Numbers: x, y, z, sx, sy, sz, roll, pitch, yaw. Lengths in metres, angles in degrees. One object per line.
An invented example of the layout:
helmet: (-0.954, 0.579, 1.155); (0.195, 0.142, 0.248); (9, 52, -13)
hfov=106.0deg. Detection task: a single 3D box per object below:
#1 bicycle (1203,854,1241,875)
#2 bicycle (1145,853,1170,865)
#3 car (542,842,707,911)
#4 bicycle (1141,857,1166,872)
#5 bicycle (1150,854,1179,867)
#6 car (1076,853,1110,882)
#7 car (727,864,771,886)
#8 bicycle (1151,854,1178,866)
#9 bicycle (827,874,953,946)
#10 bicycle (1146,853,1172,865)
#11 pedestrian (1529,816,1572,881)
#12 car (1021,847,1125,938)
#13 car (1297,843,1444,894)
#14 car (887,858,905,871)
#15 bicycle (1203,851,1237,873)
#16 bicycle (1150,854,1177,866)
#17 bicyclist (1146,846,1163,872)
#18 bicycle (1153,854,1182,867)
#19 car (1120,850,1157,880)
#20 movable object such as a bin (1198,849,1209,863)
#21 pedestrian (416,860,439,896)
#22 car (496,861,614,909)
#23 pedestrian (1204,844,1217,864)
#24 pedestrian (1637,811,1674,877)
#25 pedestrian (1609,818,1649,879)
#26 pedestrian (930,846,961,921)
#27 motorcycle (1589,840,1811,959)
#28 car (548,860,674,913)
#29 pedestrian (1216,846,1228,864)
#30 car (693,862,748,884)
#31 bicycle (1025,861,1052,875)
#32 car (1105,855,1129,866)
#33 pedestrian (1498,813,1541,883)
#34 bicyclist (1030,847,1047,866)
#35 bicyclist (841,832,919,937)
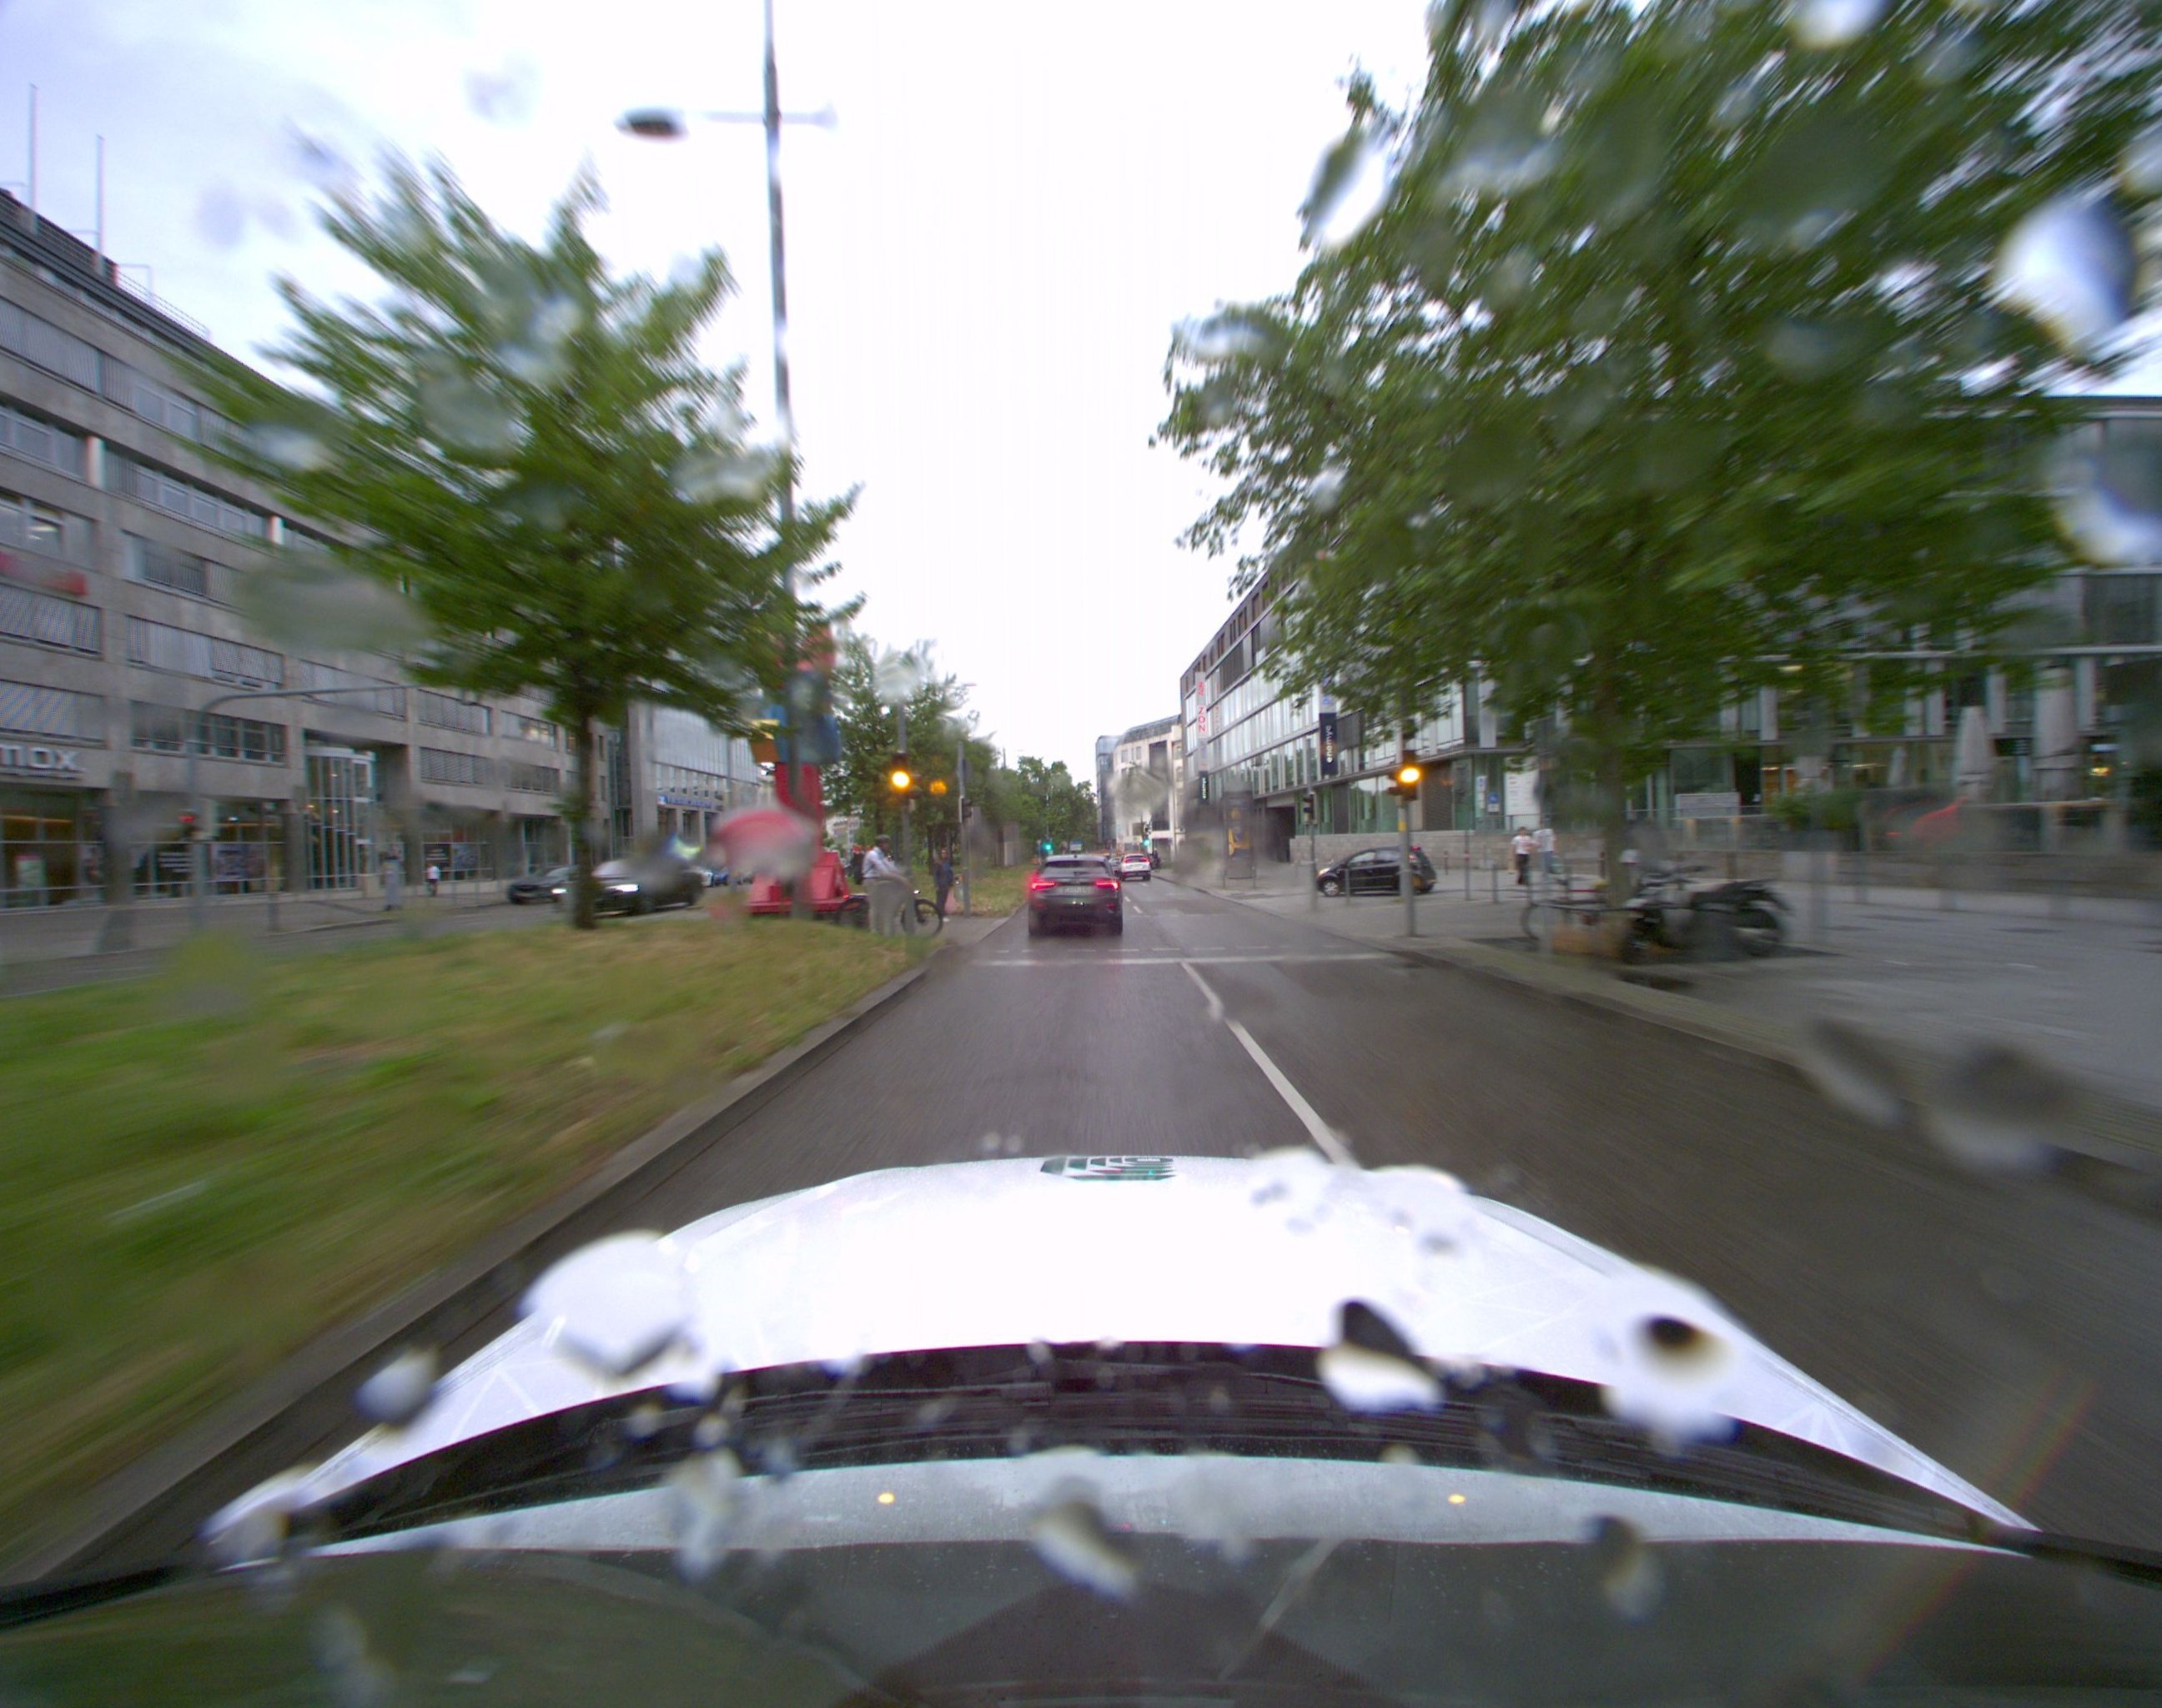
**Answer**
bicycle: (7.984, 0.585, 46.159); (1.974, 1.104, 0.809); (-3, 0, 5)
bicycle: (8.054, 0.547, 85.917); (2.530, 1.087, 0.677); (-3, -1, -3)
car: (-11.567, 0.512, 21.066); (1.786, 1.467, 4.718); (-4, 0, -4)
bicycle: (6.072, 0.851, 68.003); (2.145, 1.145, 0.753); (-2, -1, -44)
bicycle: (7.759, 0.632, 75.790); (2.530, 1.087, 0.677); (-3, 0, -3)
car: (0.785, 0.821, 50.637); (1.938, 1.646, 4.246); (-2, 0, 1)
car: (-24.363, 1.498, 59.876); (1.772, 1.401, 4.011); (-3, 0, -4)
bicycle: (8.048, 0.575, 78.668); (2.530, 1.087, 0.677); (-3, -1, -3)
bicycle: (-3.294, 0.956, 14.158); (1.964, 1.139, 0.778); (1, 0, 2)
bicycle: (8.144, 0.549, 85.024); (2.530, 1.087, 0.677); (-3, -1, -3)
pedestrian: (13.961, -0.167, 24.255); (0.796, 1.868, 0.900); (-2, 0, 9)
car: (-0.060, 0.684, 16.959); (1.840, 1.616, 4.255); (-2, 0, 2)
car: (8.648, 0.445, 24.488); (3.785, 1.417, 1.646); (-2, 0, 40)
car: (-25.553, 1.480, 112.570); (1.943, 1.700, 3.991); (-2, 0, -7)
bicycle: (8.180, 0.467, 48.009); (1.827, 1.197, 0.661); (-4, 0, 5)
bicycle: (8.022, 0.575, 79.480); (2.530, 1.087, 0.677); (-3, -1, -3)
bicyclist: (6.122, 0.404, 68.096); (1.091, 2.083, 0.753); (-2, -1, -44)
bicycle: (7.928, 0.605, 74.306); (2.530, 1.057, 0.677); (-3, 0, -3)
car: (3.559, 0.674, 50.880); (2.170, 1.700, 4.004); (-2, 0, 3)
movable object such as a bin: (11.774, 0.218, 78.129); (0.729, 1.264, 1.444); (-5, 0, -1)
pedestrian: (-33.354, 1.232, 41.566); (0.717, 1.787, 0.529); (-2, 0, -1)
car: (-22.083, 1.235, 34.447); (1.856, 1.725, 4.790); (-3, 0, -1)
pedestrian: (12.231, 0.034, 76.811); (0.898, 1.792, 1.045); (-5, 0, -3)
pedestrian: (16.394, -0.286, 23.264); (0.674, 1.823, 0.654); (-1, 0, 18)
pedestrian: (16.001, -0.166, 23.778); (0.772, 1.725, 0.647); (-1, 0, 16)
pedestrian: (-3.118, 0.667, 18.753); (0.525, 1.685, 0.722); (-2, 0, 2)
motorcycle: (7.468, 0.540, 9.914); (2.071, 1.357, 0.679); (-2, 0, 8)
car: (-15.076, 0.983, 26.376); (1.785, 1.414, 3.997); (-4, 0, -2)
pedestrian: (13.282, 0.109, 76.850); (0.716, 1.690, 1.099); (-5, 0, -3)
car: (-23.863, 1.217, 54.067); (1.889, 1.325, 4.468); (-2, 0, -5)
bicycle: (-3.548, 1.150, 67.774); (2.043, 1.114, 1.017); (0, -1, 21)
car: (5.957, 1.019, 134.480); (3.972, 1.647, 2.001); (2, 0, 1)
pedestrian: (13.066, -0.190, 24.291); (0.846, 2.039, 0.754); (-2, 0, 4)
bicyclist: (-3.538, 0.227, 67.786); (1.122, 1.582, 1.020); (0, -1, 22)
bicyclist: (-3.483, 0.524, 14.162); (1.072, 1.749, 0.813); (1, -1, 2)
